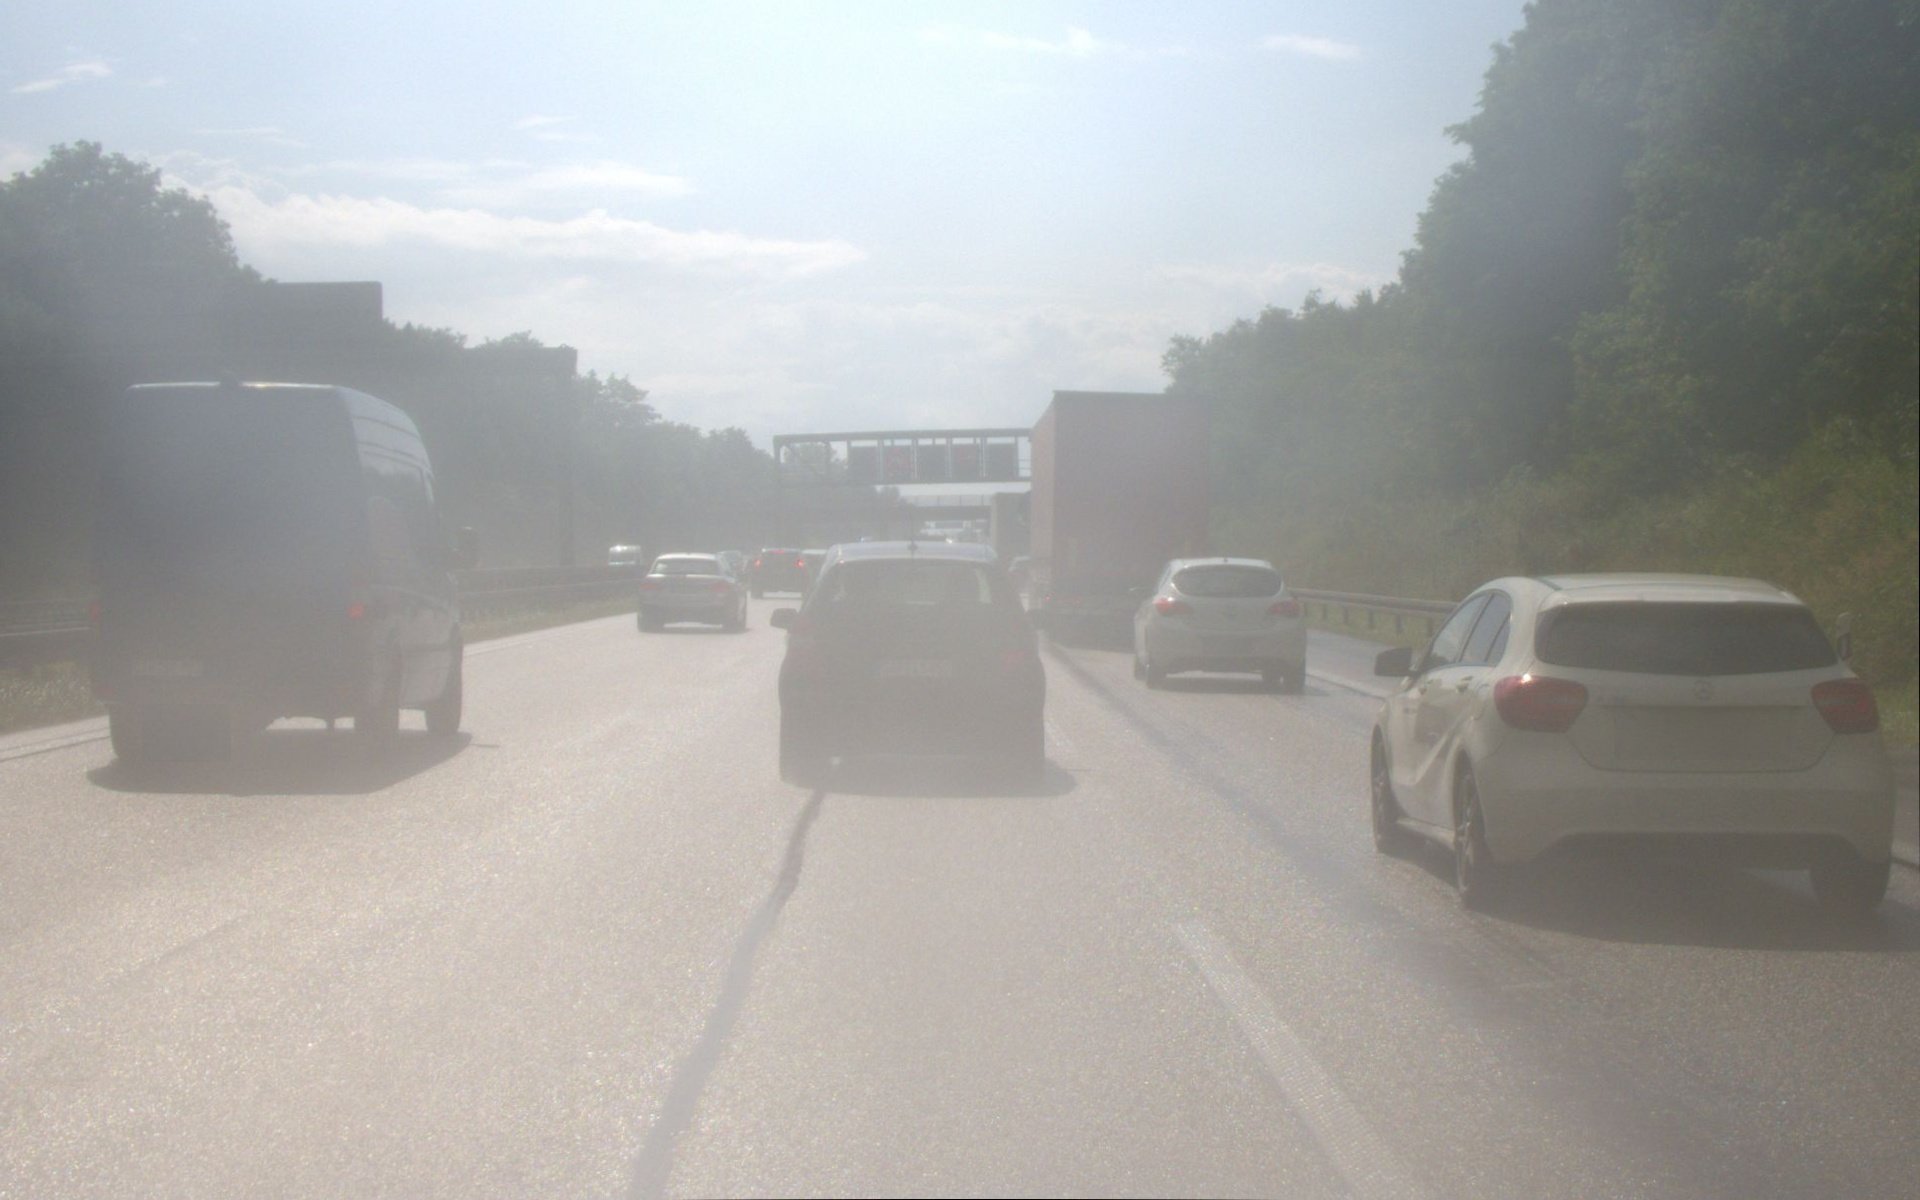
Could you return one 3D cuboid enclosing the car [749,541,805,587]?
[{"bbox_3d":[-5.938,-1.180,111.914,1.751,1.452,3.390,1,1,-2],"label":"car"}]

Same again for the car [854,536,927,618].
[{"bbox_3d":[-1.558,-0.525,76.132,1.531,1.740,3.485,1,1,-2],"label":"car"}]

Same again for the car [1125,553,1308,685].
[{"bbox_3d":[2.918,0.184,39.823,1.680,1.437,3.905,1,1,-2],"label":"car"}]

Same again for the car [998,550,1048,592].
[{"bbox_3d":[2.152,-1.009,118.273,1.552,1.378,3.210,1,1,-2],"label":"car"}]

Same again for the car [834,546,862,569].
[{"bbox_3d":[-6.325,-2.416,194.651,1.549,1.262,3.485,1,1,-2],"label":"car"}]

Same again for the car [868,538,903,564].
[{"bbox_3d":[-4.992,-3.301,230.490,1.994,1.695,4.000,0,1,4],"label":"car"}]

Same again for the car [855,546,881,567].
[{"bbox_3d":[-5.618,-2.637,209.572,1.549,1.262,3.485,1,1,-2],"label":"car"}]

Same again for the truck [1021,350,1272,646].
[{"bbox_3d":[3.149,-1.749,63.747,3.650,4.704,16.779,1,1,0],"label":"truck"}]

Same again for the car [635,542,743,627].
[{"bbox_3d":[-5.095,-0.312,64.893,1.854,1.546,3.485,1,1,-2],"label":"car"}]

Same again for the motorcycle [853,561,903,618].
[{"bbox_3d":[-1.522,-0.204,63.473,0.890,0.997,2.896,1,1,-2],"label":"motorcycle"}]

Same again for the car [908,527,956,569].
[{"bbox_3d":[-0.963,-1.784,117.524,1.552,1.378,3.210,1,1,-2],"label":"car"}]

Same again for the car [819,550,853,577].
[{"bbox_3d":[-5.882,-1.746,162.985,1.549,1.262,3.485,1,1,-2],"label":"car"}]

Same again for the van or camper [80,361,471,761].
[{"bbox_3d":[-4.982,-0.297,25.798,1.993,2.659,5.385,1,1,-2],"label":"van or camper"}]

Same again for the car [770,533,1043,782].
[{"bbox_3d":[-0.395,0.344,23.602,1.717,1.562,3.485,1,1,-2],"label":"car"}]

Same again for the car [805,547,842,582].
[{"bbox_3d":[-5.478,-1.441,138.263,1.460,1.389,3.312,1,1,-2],"label":"car"}]

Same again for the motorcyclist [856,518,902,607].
[{"bbox_3d":[-1.496,-0.691,63.423,0.801,1.627,1.013,1,1,-2],"label":"motorcyclist"}]

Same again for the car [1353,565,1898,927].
[{"bbox_3d":[2.915,0.567,15.934,1.692,1.420,4.220,1,1,0],"label":"car"}]

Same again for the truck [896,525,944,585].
[{"bbox_3d":[-1.950,-2.179,166.443,2.192,2.865,4.850,1,1,-2],"label":"truck"}]

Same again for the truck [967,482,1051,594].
[{"bbox_3d":[1.985,-2.560,144.465,3.256,4.464,12.421,1,1,0],"label":"truck"}]
